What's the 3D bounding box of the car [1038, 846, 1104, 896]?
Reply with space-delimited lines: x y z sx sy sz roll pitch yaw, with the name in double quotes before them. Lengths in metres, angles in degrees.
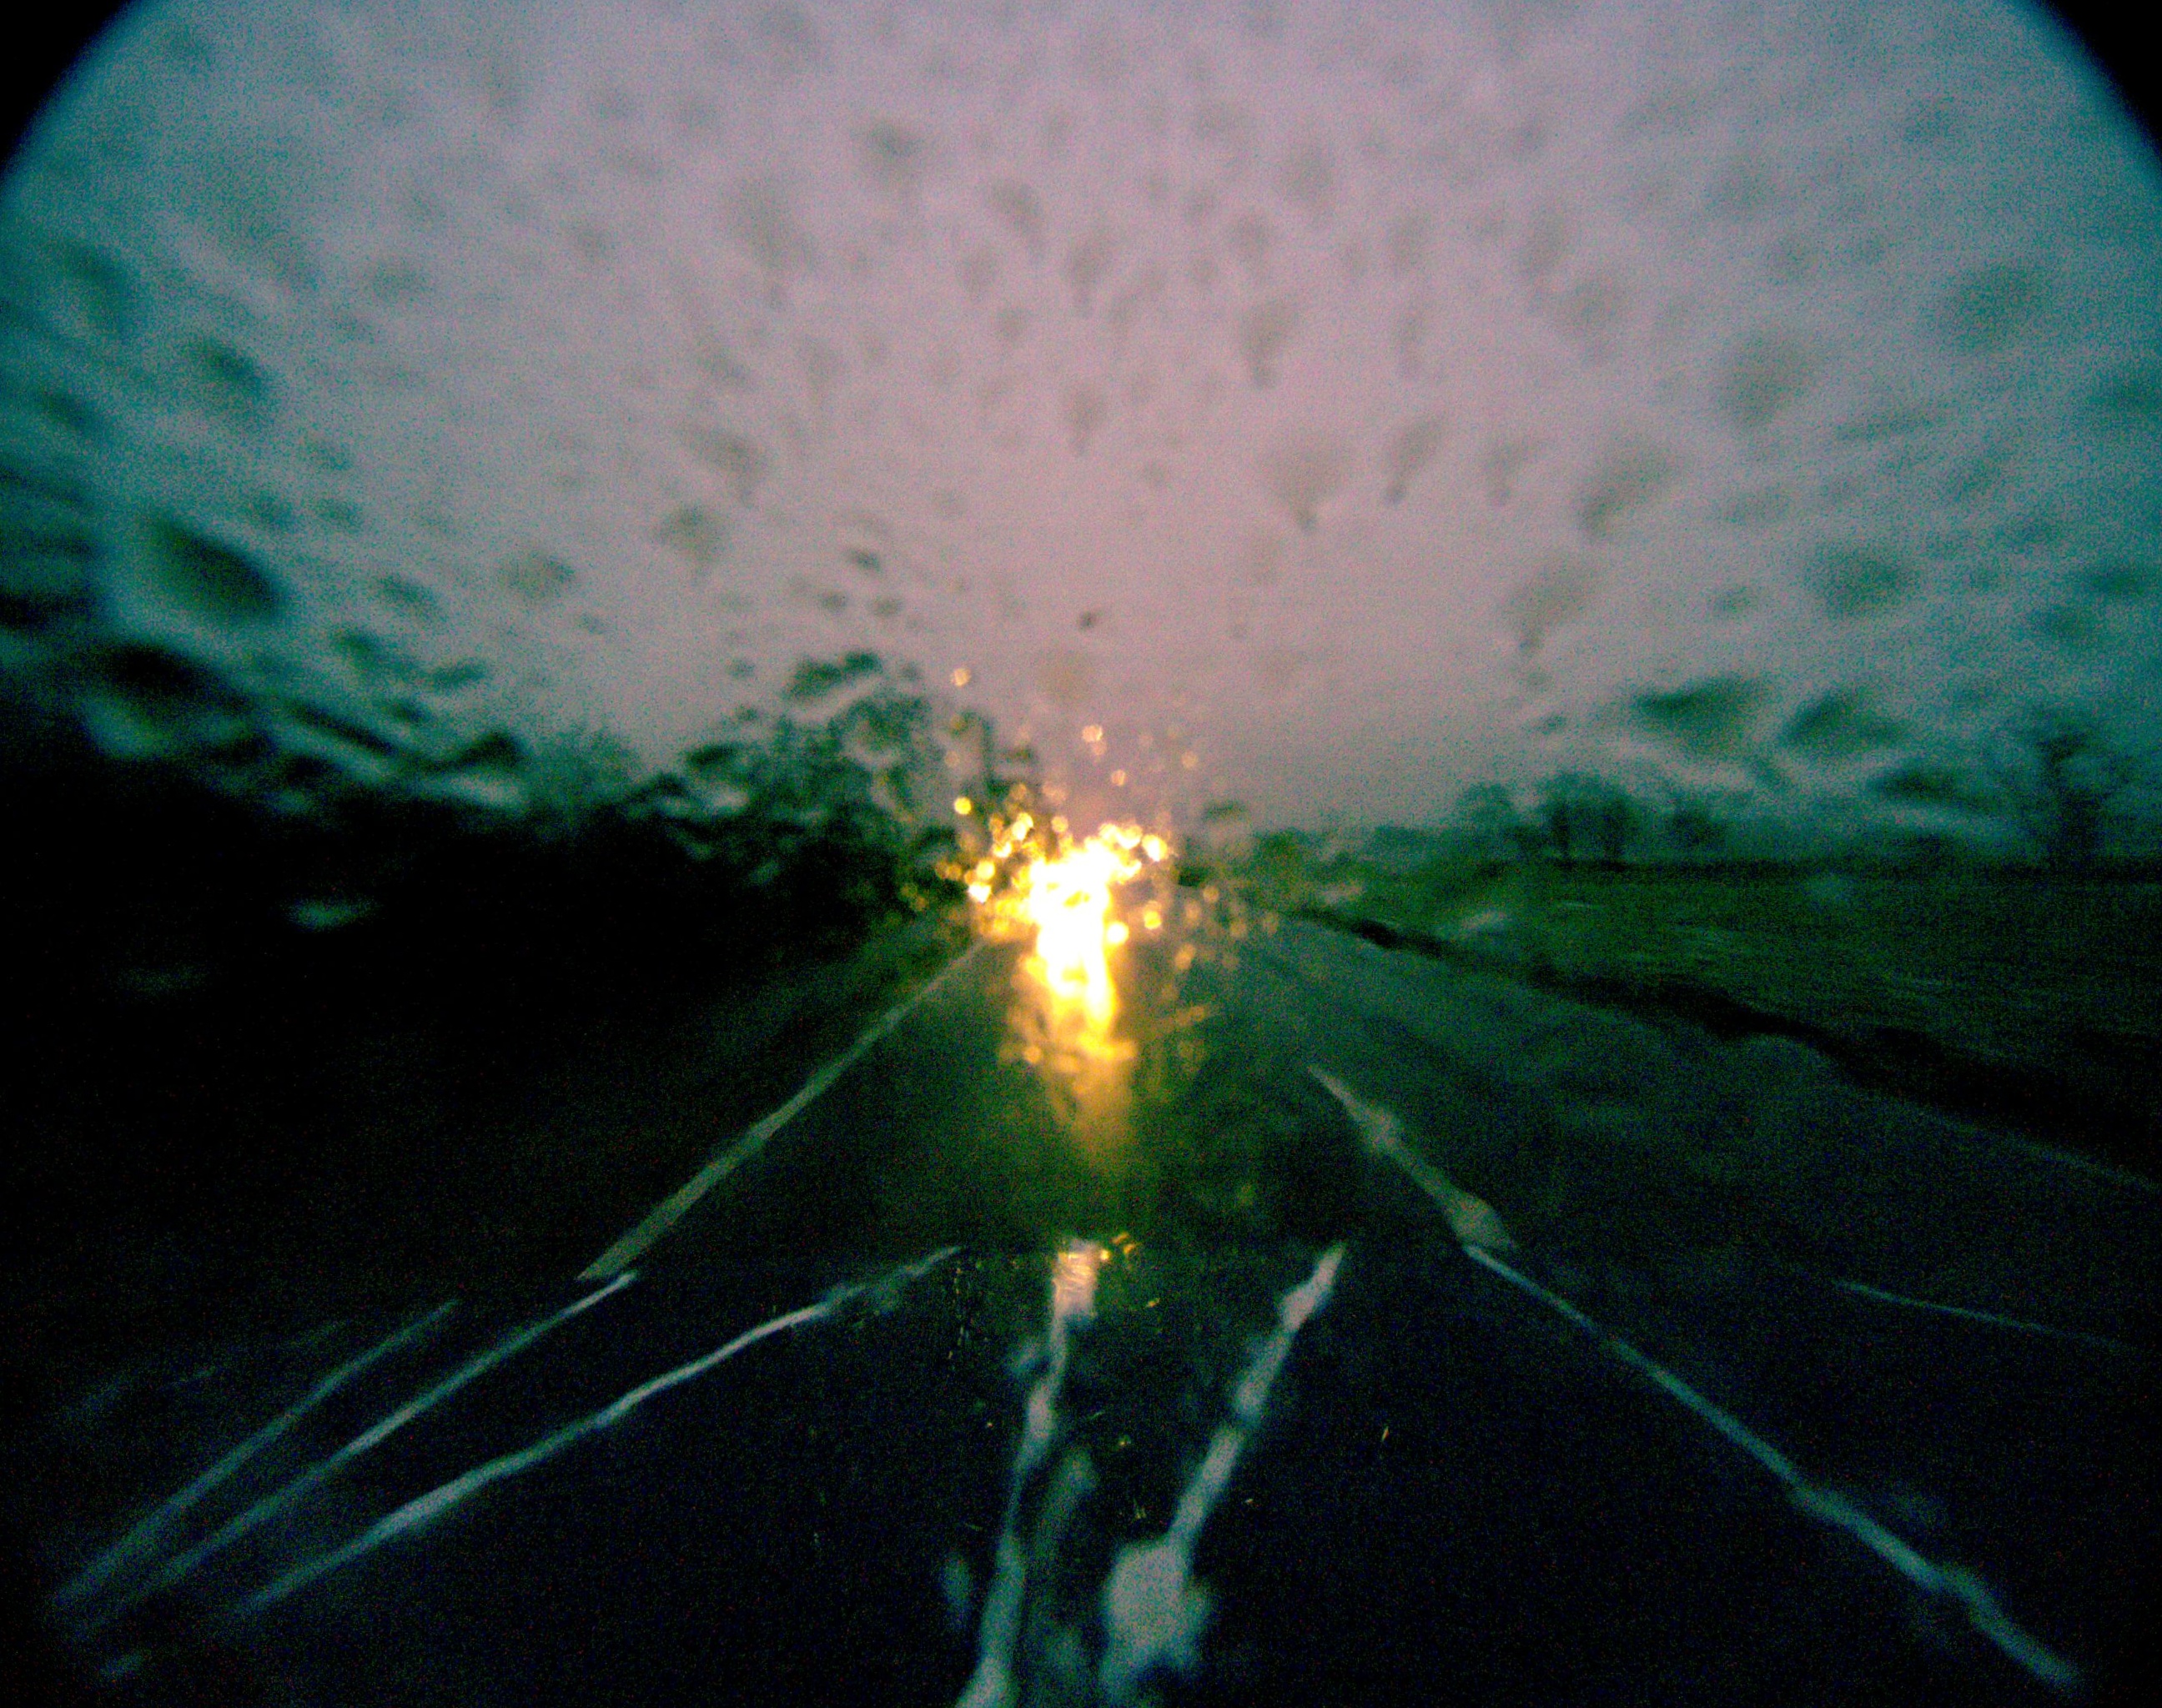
"car" -0.361 0.688 34.566 2.705 1.974 5.803 -2 1 1
